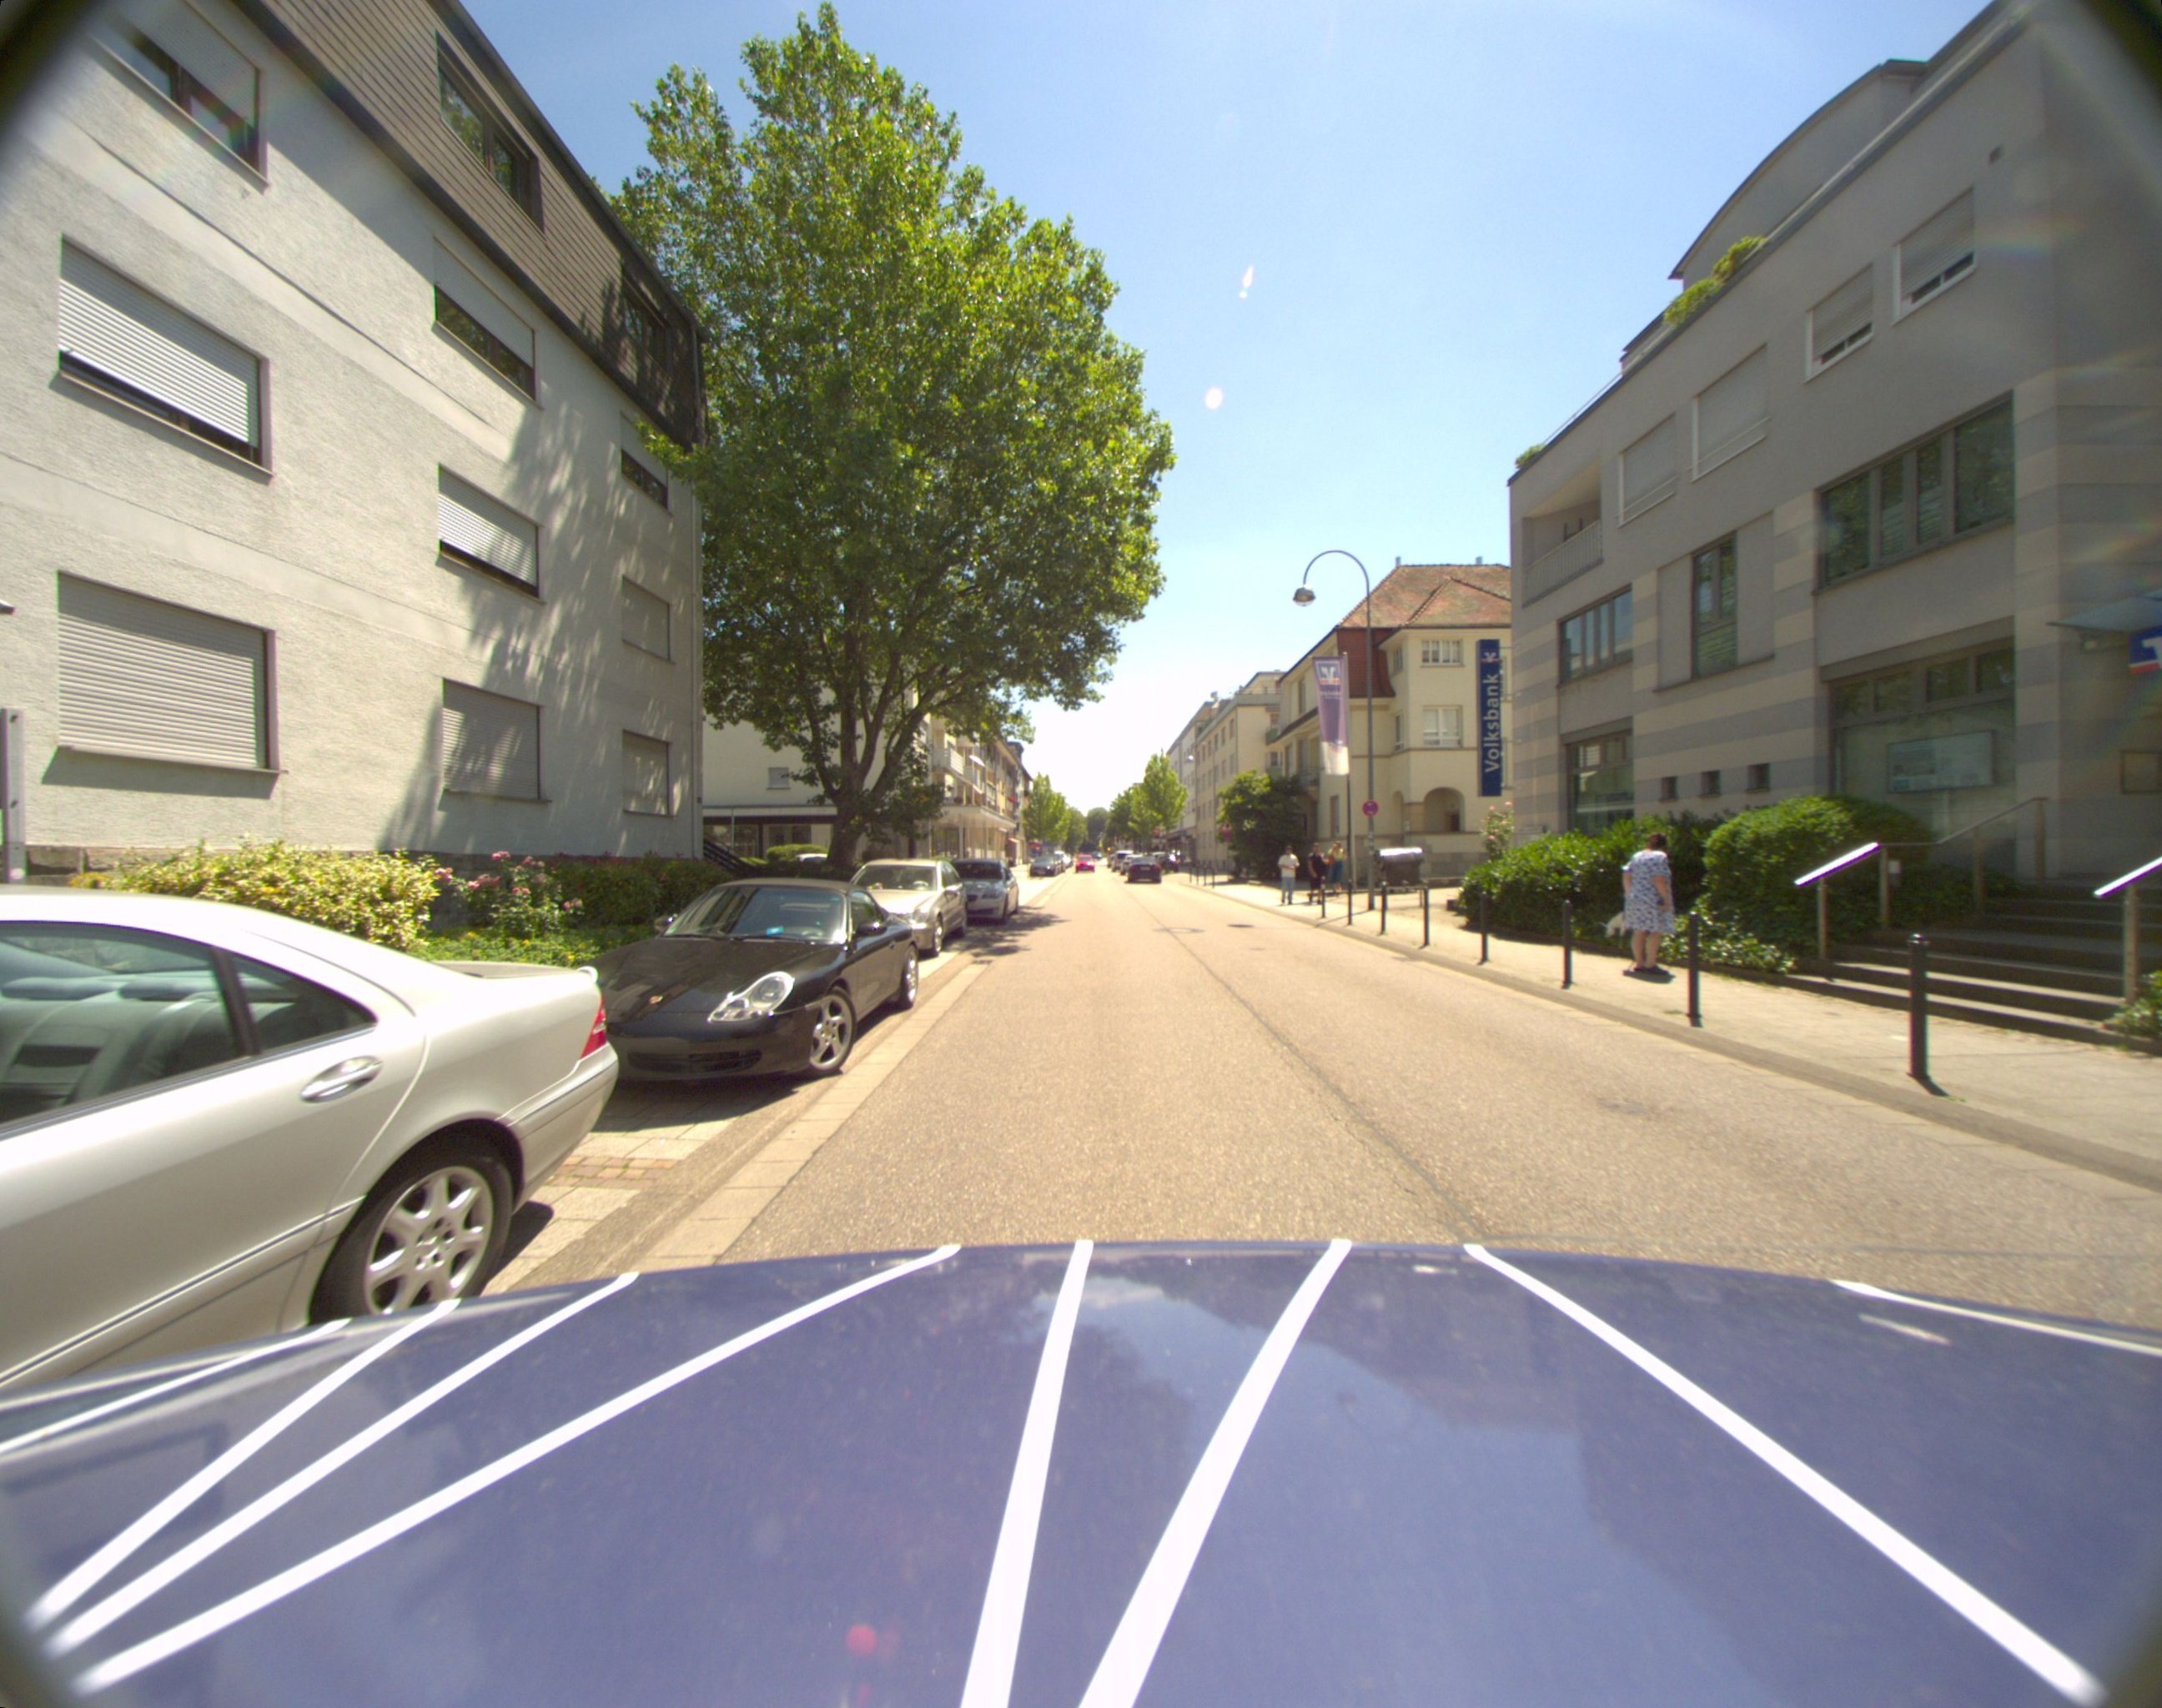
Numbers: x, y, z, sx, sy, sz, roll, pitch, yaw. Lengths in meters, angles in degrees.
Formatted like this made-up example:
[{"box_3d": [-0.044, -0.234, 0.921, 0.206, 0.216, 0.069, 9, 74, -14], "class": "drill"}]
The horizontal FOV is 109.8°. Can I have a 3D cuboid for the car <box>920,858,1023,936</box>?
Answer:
[{"box_3d": [-2.494, 0.921, 18.453, 1.834, 1.502, 4.758, -4, 0, -2], "class": "car"}]

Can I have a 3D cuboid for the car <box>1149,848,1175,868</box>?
[{"box_3d": [7.071, 0.330, 66.947, 1.732, 1.661, 4.293, -2, 0, -1], "class": "car"}]

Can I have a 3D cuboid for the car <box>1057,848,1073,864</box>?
[{"box_3d": [-1.876, 0.224, 88.203, 1.731, 1.861, 4.114, 0, 0, 0], "class": "car"}]

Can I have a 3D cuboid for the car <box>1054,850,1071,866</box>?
[{"box_3d": [-1.966, 0.388, 83.400, 1.731, 1.680, 4.114, 0, 0, 0], "class": "car"}]

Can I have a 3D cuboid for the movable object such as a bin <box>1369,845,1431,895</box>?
[{"box_3d": [10.402, 0.508, 24.836, 1.390, 1.479, 1.294, -4, 1, 1], "class": "movable object such as a bin"}]

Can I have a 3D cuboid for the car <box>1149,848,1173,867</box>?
[{"box_3d": [7.586, 0.307, 72.335, 1.731, 1.661, 4.294, -2, 0, 0], "class": "car"}]

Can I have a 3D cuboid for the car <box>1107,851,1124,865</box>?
[{"box_3d": [3.809, 0.439, 84.429, 1.731, 1.500, 4.293, 0, 1, 0], "class": "car"}]

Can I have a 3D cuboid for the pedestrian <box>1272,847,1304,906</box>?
[{"box_3d": [6.037, 0.650, 22.175, 0.622, 1.667, 0.903, -3, 1, 0], "class": "pedestrian"}]

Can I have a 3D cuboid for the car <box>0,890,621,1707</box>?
[{"box_3d": [-2.877, 0.924, 0.816, 1.748, 1.460, 4.851, 2, 0, 1], "class": "car"}]

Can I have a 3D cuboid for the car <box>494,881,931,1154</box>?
[{"box_3d": [-2.447, 0.979, 6.287, 1.561, 1.333, 4.173, 0, 0, 0], "class": "car"}]

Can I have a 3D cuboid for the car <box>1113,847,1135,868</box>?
[{"box_3d": [3.780, 0.296, 67.433, 1.706, 1.815, 4.231, 1, 0, 0], "class": "car"}]

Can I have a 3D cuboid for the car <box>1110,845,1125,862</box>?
[{"box_3d": [4.672, -0.081, 98.394, 1.731, 2.154, 4.294, 1, 0, 0], "class": "car"}]

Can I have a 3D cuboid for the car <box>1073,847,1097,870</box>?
[{"box_3d": [0.347, 0.386, 66.952, 2.000, 1.880, 4.294, -2, 0, 0], "class": "car"}]

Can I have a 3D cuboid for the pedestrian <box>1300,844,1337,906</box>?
[{"box_3d": [6.905, 0.595, 22.134, 0.750, 1.760, 0.951, -1, 1, 0], "class": "pedestrian"}]

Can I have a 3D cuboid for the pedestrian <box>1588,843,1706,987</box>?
[{"box_3d": [6.709, 0.696, 9.044, 0.847, 1.635, 0.751, -1, 1, 2], "class": "pedestrian"}]

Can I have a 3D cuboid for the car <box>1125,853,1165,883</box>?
[{"box_3d": [3.430, 0.709, 41.169, 1.834, 1.502, 4.262, 1, 0, 0], "class": "car"}]

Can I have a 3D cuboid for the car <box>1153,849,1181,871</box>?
[{"box_3d": [6.837, 0.431, 60.528, 1.731, 1.661, 4.294, -2, 0, 0], "class": "car"}]

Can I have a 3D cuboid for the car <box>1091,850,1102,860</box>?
[{"box_3d": [2.477, 0.122, 119.943, 1.698, 1.594, 3.812, -1, 0, 0], "class": "car"}]

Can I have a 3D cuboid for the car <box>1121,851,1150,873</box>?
[{"box_3d": [3.907, 0.539, 54.842, 1.834, 1.502, 4.031, 0, 0, 0], "class": "car"}]

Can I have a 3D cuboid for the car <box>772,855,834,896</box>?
[{"box_3d": [-11.120, 0.797, 30.232, 1.740, 1.491, 3.454, -1, 1, -30], "class": "car"}]

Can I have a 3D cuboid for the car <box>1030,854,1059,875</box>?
[{"box_3d": [-2.525, 0.719, 53.761, 1.818, 1.379, 4.114, 2, 0, 0], "class": "car"}]

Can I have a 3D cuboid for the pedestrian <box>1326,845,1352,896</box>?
[{"box_3d": [8.578, 0.541, 25.257, 0.541, 1.665, 0.735, -3, 1, 0], "class": "pedestrian"}]
